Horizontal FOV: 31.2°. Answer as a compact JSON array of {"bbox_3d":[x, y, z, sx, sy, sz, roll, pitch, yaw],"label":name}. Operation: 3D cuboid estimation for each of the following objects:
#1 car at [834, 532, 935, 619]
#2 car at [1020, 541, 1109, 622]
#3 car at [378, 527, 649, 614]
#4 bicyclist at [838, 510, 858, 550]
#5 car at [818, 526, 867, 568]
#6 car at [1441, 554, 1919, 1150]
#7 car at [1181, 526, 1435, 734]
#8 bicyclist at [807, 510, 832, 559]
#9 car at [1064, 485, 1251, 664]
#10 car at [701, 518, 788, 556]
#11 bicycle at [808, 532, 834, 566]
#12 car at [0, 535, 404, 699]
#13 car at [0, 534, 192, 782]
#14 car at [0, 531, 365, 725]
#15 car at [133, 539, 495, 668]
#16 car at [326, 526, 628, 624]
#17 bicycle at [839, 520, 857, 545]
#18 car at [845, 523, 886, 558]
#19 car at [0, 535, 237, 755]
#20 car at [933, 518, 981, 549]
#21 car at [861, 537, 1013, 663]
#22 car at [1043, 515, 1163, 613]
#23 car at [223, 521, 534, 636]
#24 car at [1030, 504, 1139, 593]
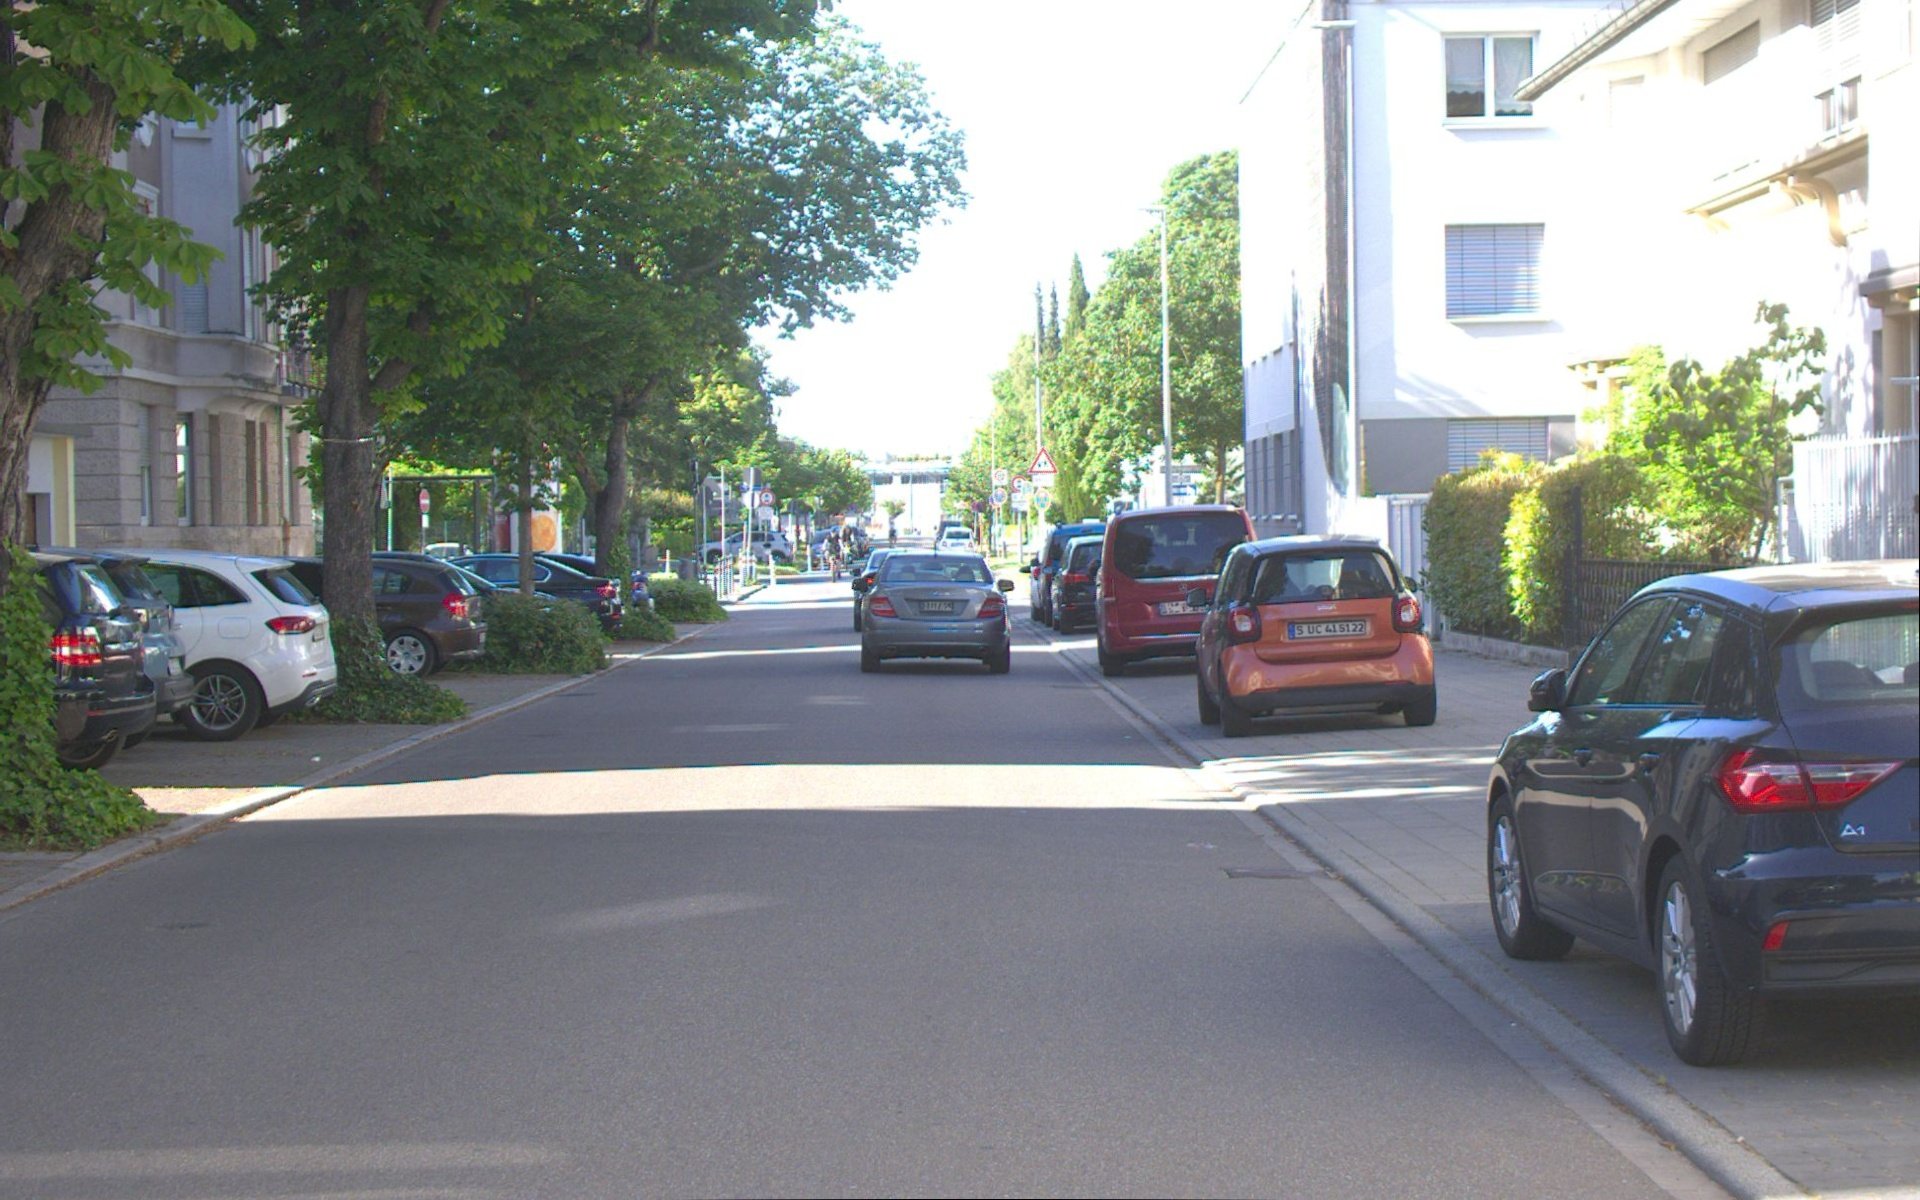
[{"bbox_3d":[-1.326,-0.432,60.588,1.707,1.443,4.203,1,0,-1],"label":"car"},{"bbox_3d":[2.019,-0.360,67.135,1.564,1.406,3.730,-5,0,1],"label":"car"},{"bbox_3d":[-7.641,-0.507,59.171,4.473,1.474,1.869,0,0,-2],"label":"car"},{"bbox_3d":[-4.266,-2.683,131.134,0.680,1.504,0.655,-1,2,1],"label":"bicyclist"},{"bbox_3d":[-5.117,-2.313,149.540,1.872,1.722,4.001,-1,2,-5],"label":"car"},{"bbox_3d":[2.757,0.648,11.158,1.619,1.435,3.935,-3,2,-2],"label":"car"},{"bbox_3d":[2.733,0.190,27.596,1.592,1.475,3.247,-3,1,-1],"label":"car"},{"bbox_3d":[-4.442,-2.082,108.935,0.721,1.531,1.137,-1,1,0],"label":"bicyclist"},{"bbox_3d":[2.249,-0.322,40.373,1.871,1.898,5.197,-2,1,1],"label":"car"},{"bbox_3d":[-9.042,-2.645,144.204,3.493,1.528,1.645,-1,1,-7],"label":"car"},{"bbox_3d":[-4.408,-1.610,108.917,0.719,1.075,1.891,1,0,0],"label":"bicycle"},{"bbox_3d":[-7.274,0.151,32.077,4.021,1.439,1.800,1,0,-12],"label":"car"},{"bbox_3d":[-7.416,0.341,23.188,3.987,1.570,1.980,1,1,2],"label":"car"},{"bbox_3d":[-7.073,0.201,28.325,4.022,1.479,1.807,1,1,-1],"label":"car"},{"bbox_3d":[-7.606,0.028,40.758,3.986,1.416,1.771,0,3,-1],"label":"car"},{"bbox_3d":[-7.457,-0.386,53.402,4.473,1.474,1.869,0,0,-2],"label":"car"},{"bbox_3d":[-4.275,-2.583,131.110,0.589,0.928,1.850,-1,2,1],"label":"bicycle"},{"bbox_3d":[-4.763,-2.987,173.121,1.787,1.527,4.000,-4,-1,-5],"label":"car"},{"bbox_3d":[-7.417,0.299,25.940,3.515,1.570,1.770,1,1,2],"label":"car"},{"bbox_3d":[-0.140,-2.956,151.839,1.722,1.325,4.001,-1,2,-5],"label":"car"},{"bbox_3d":[-0.253,-0.014,41.476,1.726,1.415,3.960,1,0,0],"label":"car"},{"bbox_3d":[2.333,-0.625,56.933,1.737,1.526,4.179,-1,1,0],"label":"car"},{"bbox_3d":[-8.061,-0.299,47.992,4.171,1.495,2.000,1,0,-7],"label":"car"},{"bbox_3d":[2.244,-0.920,62.766,1.682,1.430,4.266,-5,0,0],"label":"car"}]
